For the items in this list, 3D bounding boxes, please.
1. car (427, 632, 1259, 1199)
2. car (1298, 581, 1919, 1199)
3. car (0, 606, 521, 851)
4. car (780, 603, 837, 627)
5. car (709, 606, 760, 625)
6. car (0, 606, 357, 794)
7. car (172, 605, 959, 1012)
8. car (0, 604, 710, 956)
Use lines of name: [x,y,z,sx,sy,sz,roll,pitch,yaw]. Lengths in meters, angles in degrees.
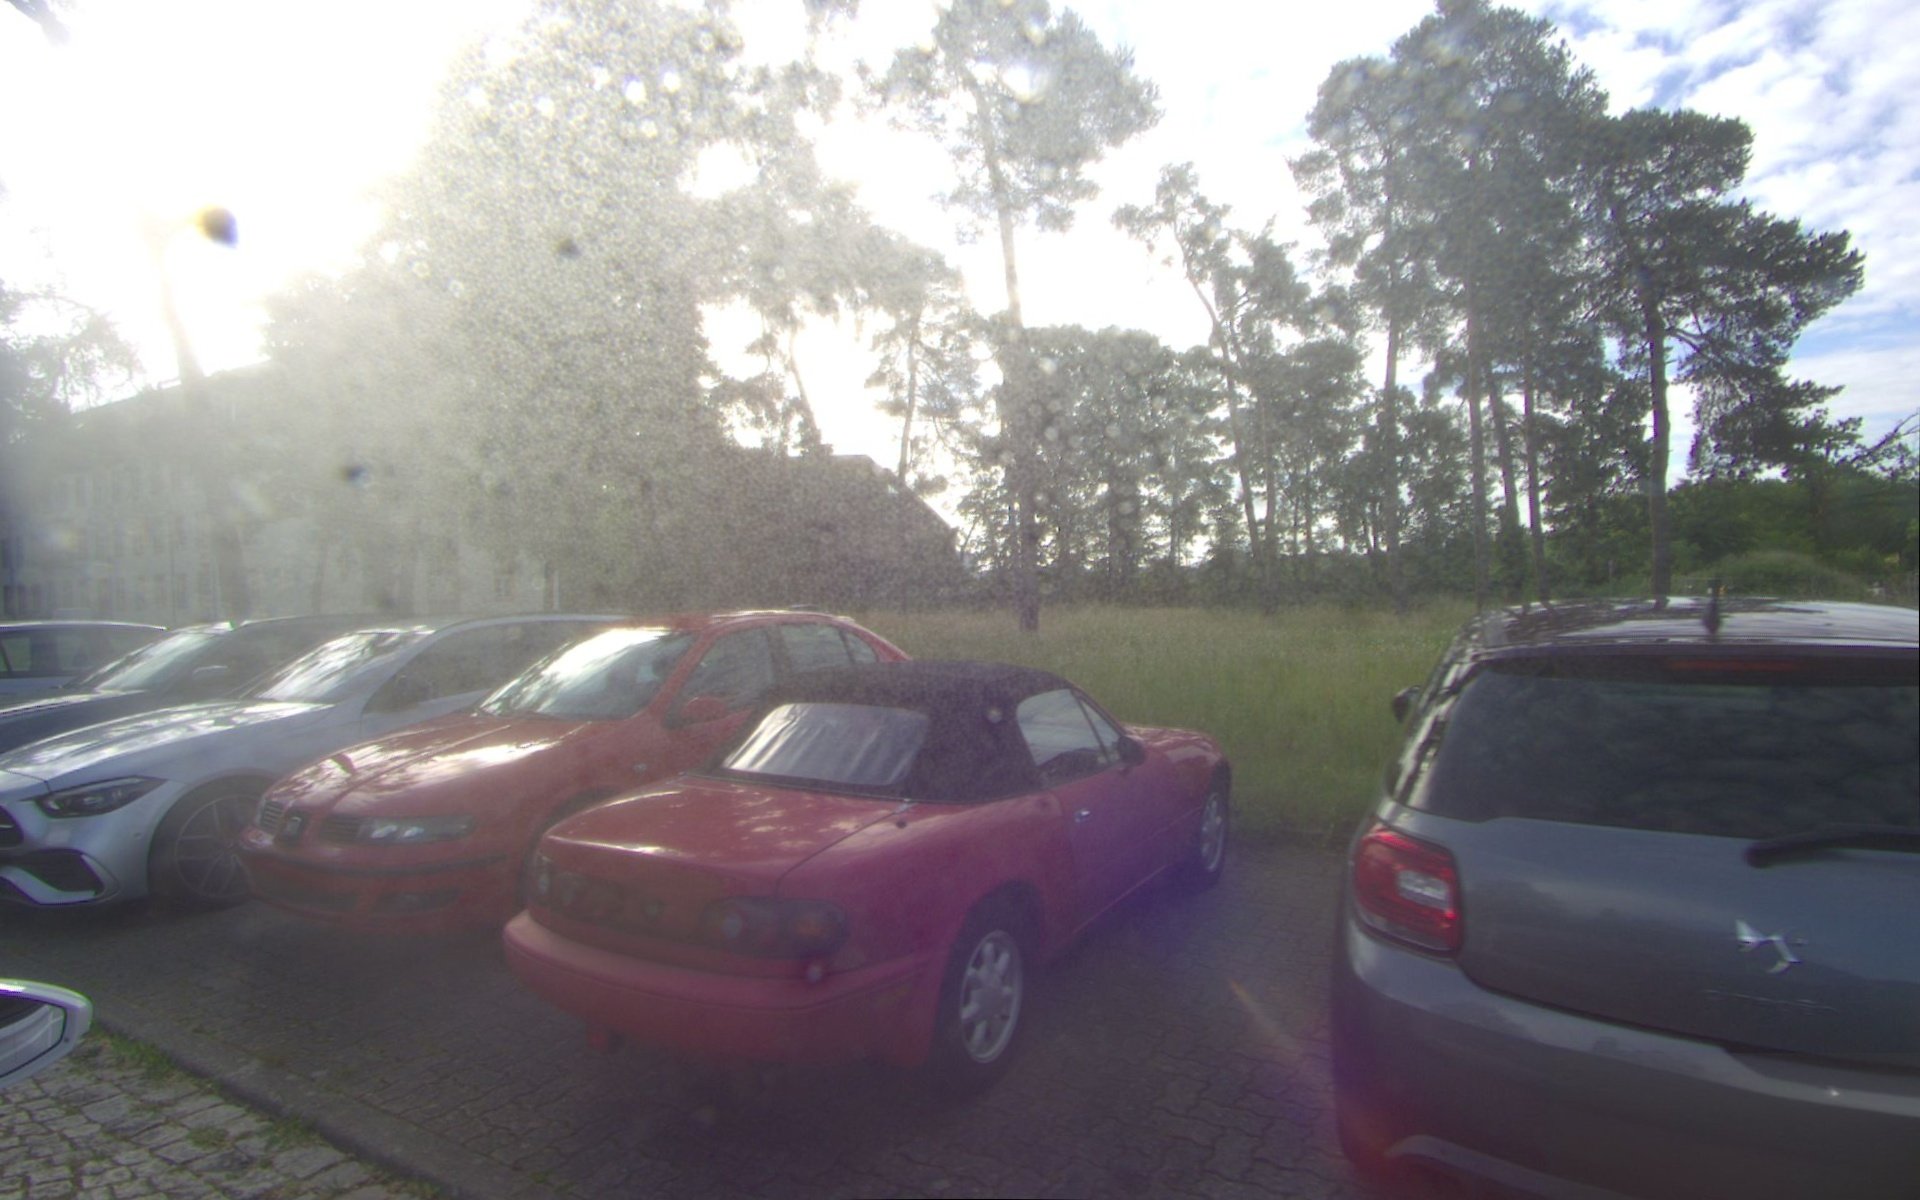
car: [-0.057,0.869,4.237,1.586,1.303,3.538,-2,0,33]
car: [2.345,0.714,3.305,1.581,1.523,3.821,-1,0,30]
car: [-6.135,0.845,8.212,1.780,1.503,4.508,-1,0,28]
car: [-10.742,1.034,71.413,3.923,1.622,1.999,-1,1,-6]
car: [-17.224,1.222,76.649,1.540,1.416,3.982,-1,-2,31]
car: [-8.221,0.863,9.614,1.617,1.490,3.836,-1,1,30]
car: [-1.801,0.788,5.879,1.695,1.442,4.099,-1,0,31]
car: [-3.872,0.818,6.742,1.740,1.448,4.318,-1,1,29]
